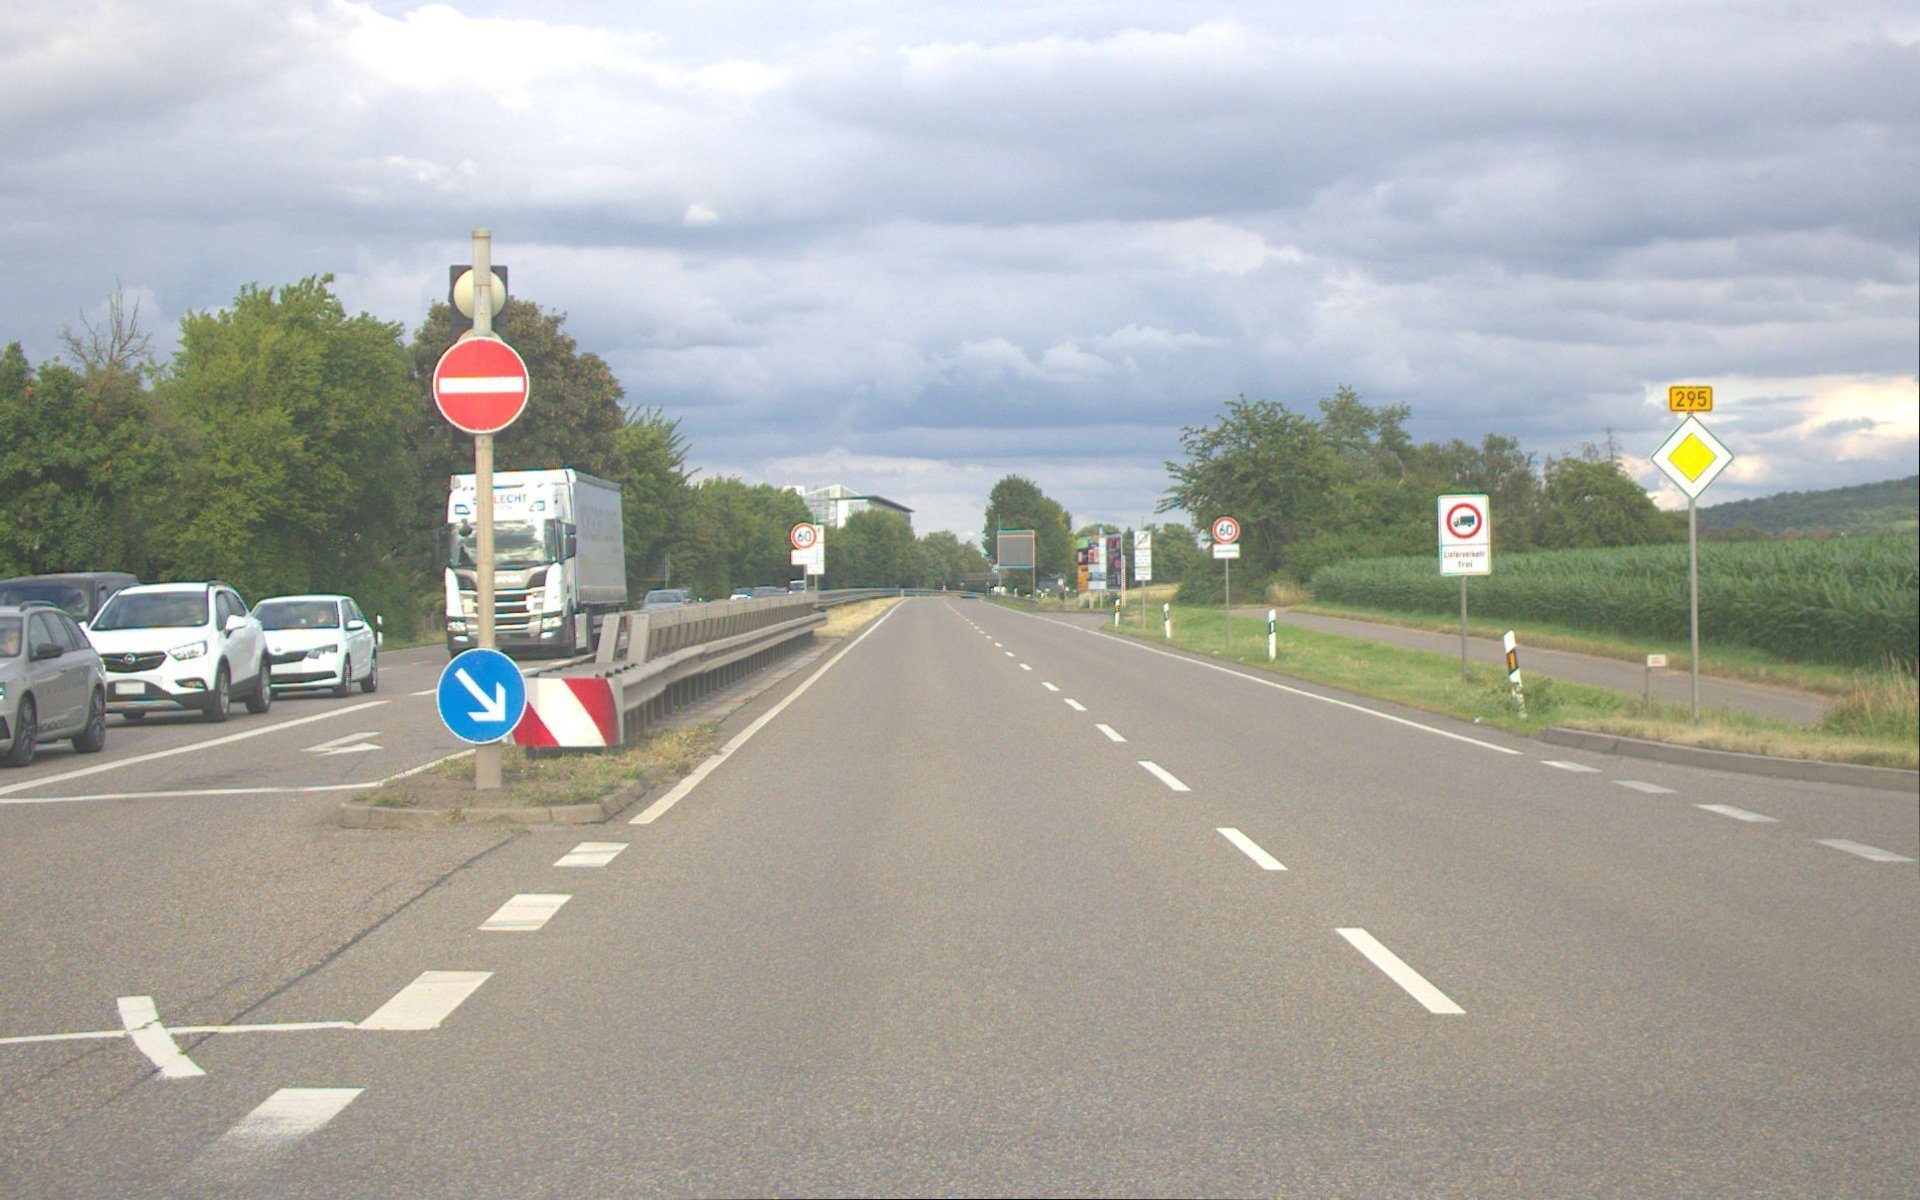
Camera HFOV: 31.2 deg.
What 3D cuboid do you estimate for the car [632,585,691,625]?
[{"bbox_3d":[-10.812,0.163,124.615,1.789,1.381,4.160,-1,1,-1],"label":"car"}]

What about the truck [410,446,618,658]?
[{"bbox_3d":[-9.318,-0.986,72.530,3.474,4.136,6.050,-3,0,-1],"label":"truck"}]

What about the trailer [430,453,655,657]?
[{"bbox_3d":[-9.378,-0.993,79.087,3.465,4.136,13.917,-3,0,-1],"label":"trailer"}]

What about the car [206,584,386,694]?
[{"bbox_3d":[-9.420,0.521,49.064,1.789,1.439,4.160,-1,1,-1],"label":"car"}]

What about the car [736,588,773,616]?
[{"bbox_3d":[-11.716,0.096,195.951,1.866,1.472,4.826,-1,1,-1],"label":"car"}]

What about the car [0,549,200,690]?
[{"bbox_3d":[-13.280,0.298,52.929,1.993,2.007,4.947,-2,0,0],"label":"car"}]

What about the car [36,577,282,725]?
[{"bbox_3d":[-9.419,0.555,40.776,1.907,1.604,4.405,-1,1,-1],"label":"car"}]

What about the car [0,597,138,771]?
[{"bbox_3d":[-9.128,0.730,31.688,1.907,1.423,5.152,-1,1,-1],"label":"car"}]
